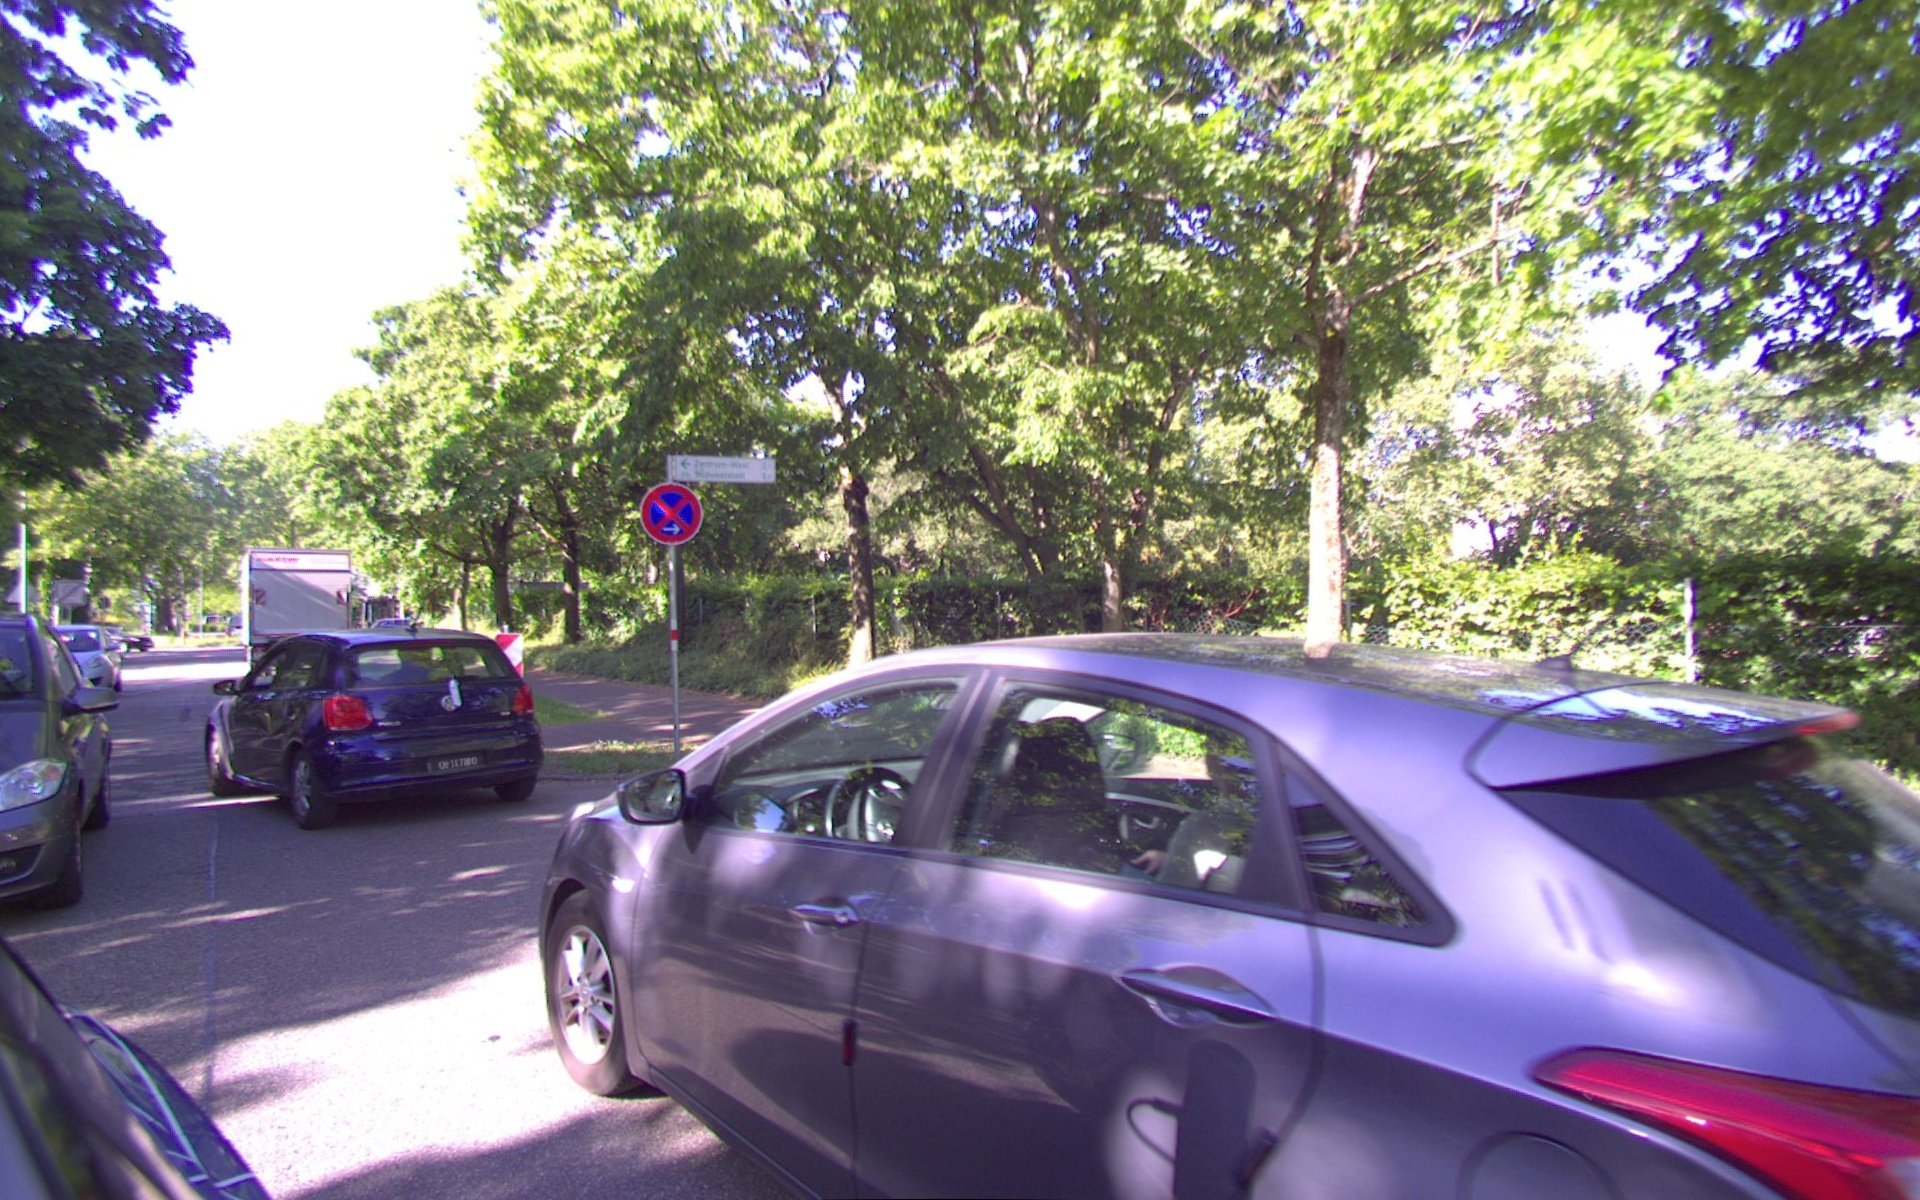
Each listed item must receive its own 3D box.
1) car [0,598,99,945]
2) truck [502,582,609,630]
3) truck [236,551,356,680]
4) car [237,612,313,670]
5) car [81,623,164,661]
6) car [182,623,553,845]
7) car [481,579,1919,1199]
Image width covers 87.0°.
[{"bbox_3d":[-6.190,0.844,5.840,1.708,1.599,4.008,-1,-1,-38],"label":"car"},{"bbox_3d":[-17.866,0.300,44.755,3.936,2.029,2.208,1,-2,-39],"label":"truck"},{"bbox_3d":[-21.618,0.511,32.709,2.699,3.669,8.118,-1,-1,-37],"label":"truck"},{"bbox_3d":[-27.521,1.590,40.566,2.092,2.112,6.597,-1,-1,-38],"label":"car"},{"bbox_3d":[-49.465,2.455,59.776,3.968,2.029,1.988,-2,0,19],"label":"car"},{"bbox_3d":[-5.019,0.926,8.389,3.650,1.437,1.584,-2,-2,41],"label":"car"},{"bbox_3d":[0.317,0.773,2.664,1.734,1.465,4.248,2,-2,-41],"label":"car"}]
